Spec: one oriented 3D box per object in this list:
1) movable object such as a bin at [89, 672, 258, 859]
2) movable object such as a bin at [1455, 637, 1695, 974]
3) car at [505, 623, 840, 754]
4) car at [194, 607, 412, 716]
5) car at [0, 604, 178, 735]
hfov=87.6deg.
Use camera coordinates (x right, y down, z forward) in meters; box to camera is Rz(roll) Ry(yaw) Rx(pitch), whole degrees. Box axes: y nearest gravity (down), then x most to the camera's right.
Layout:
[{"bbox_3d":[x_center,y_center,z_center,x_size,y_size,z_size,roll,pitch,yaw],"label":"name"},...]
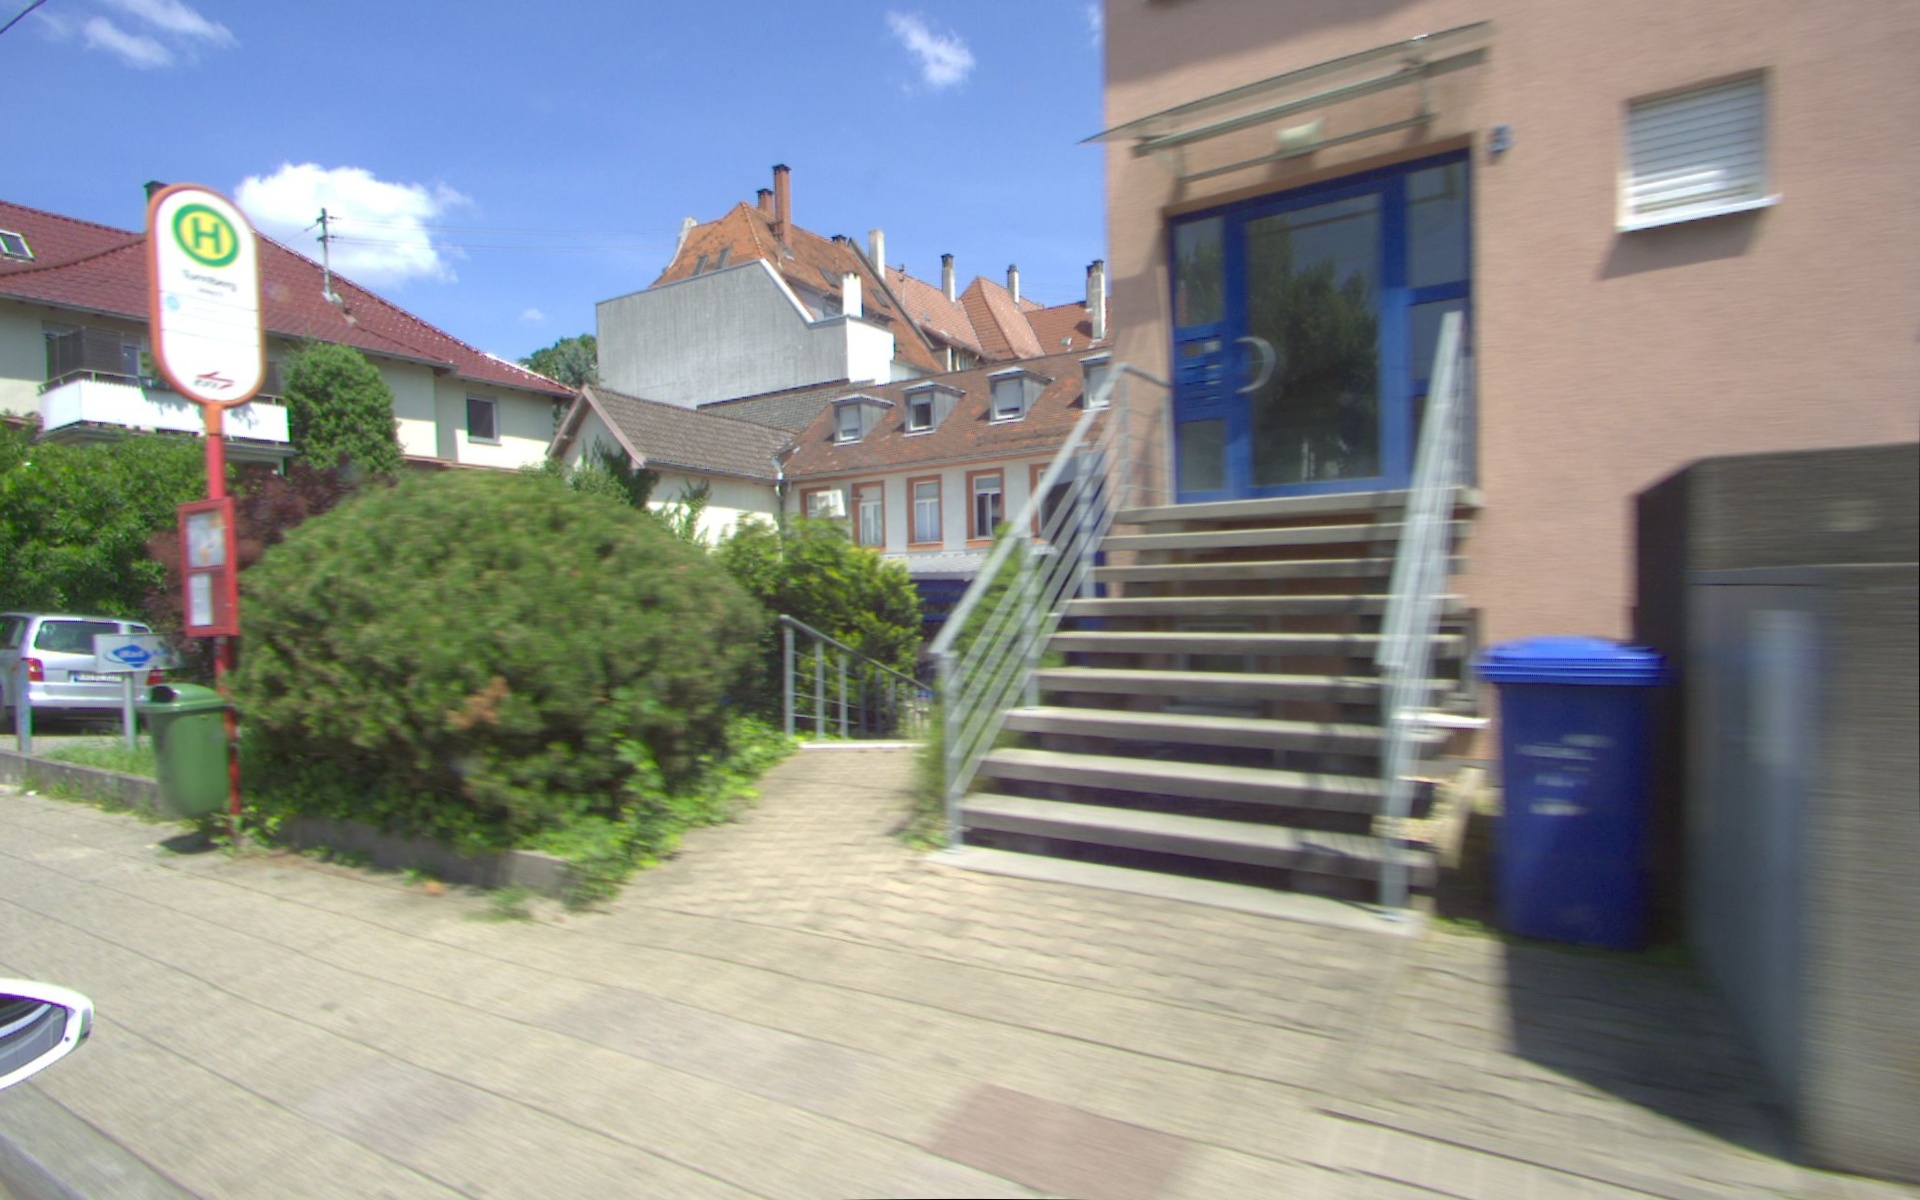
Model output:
[{"bbox_3d":[-4.314,0.878,5.497,0.718,0.919,0.405,-2,4,29],"label":"movable object such as a bin"},{"bbox_3d":[2.194,0.676,3.621,0.658,1.058,0.621,-2,-1,31],"label":"movable object such as a bin"},{"bbox_3d":[-3.610,1.184,13.320,1.698,1.441,4.128,-1,-6,33],"label":"car"},{"bbox_3d":[-11.451,1.099,17.390,3.947,1.688,1.758,-3,-6,34],"label":"car"},{"bbox_3d":[-13.231,1.021,14.443,3.943,1.647,1.759,-3,-5,32],"label":"car"}]
